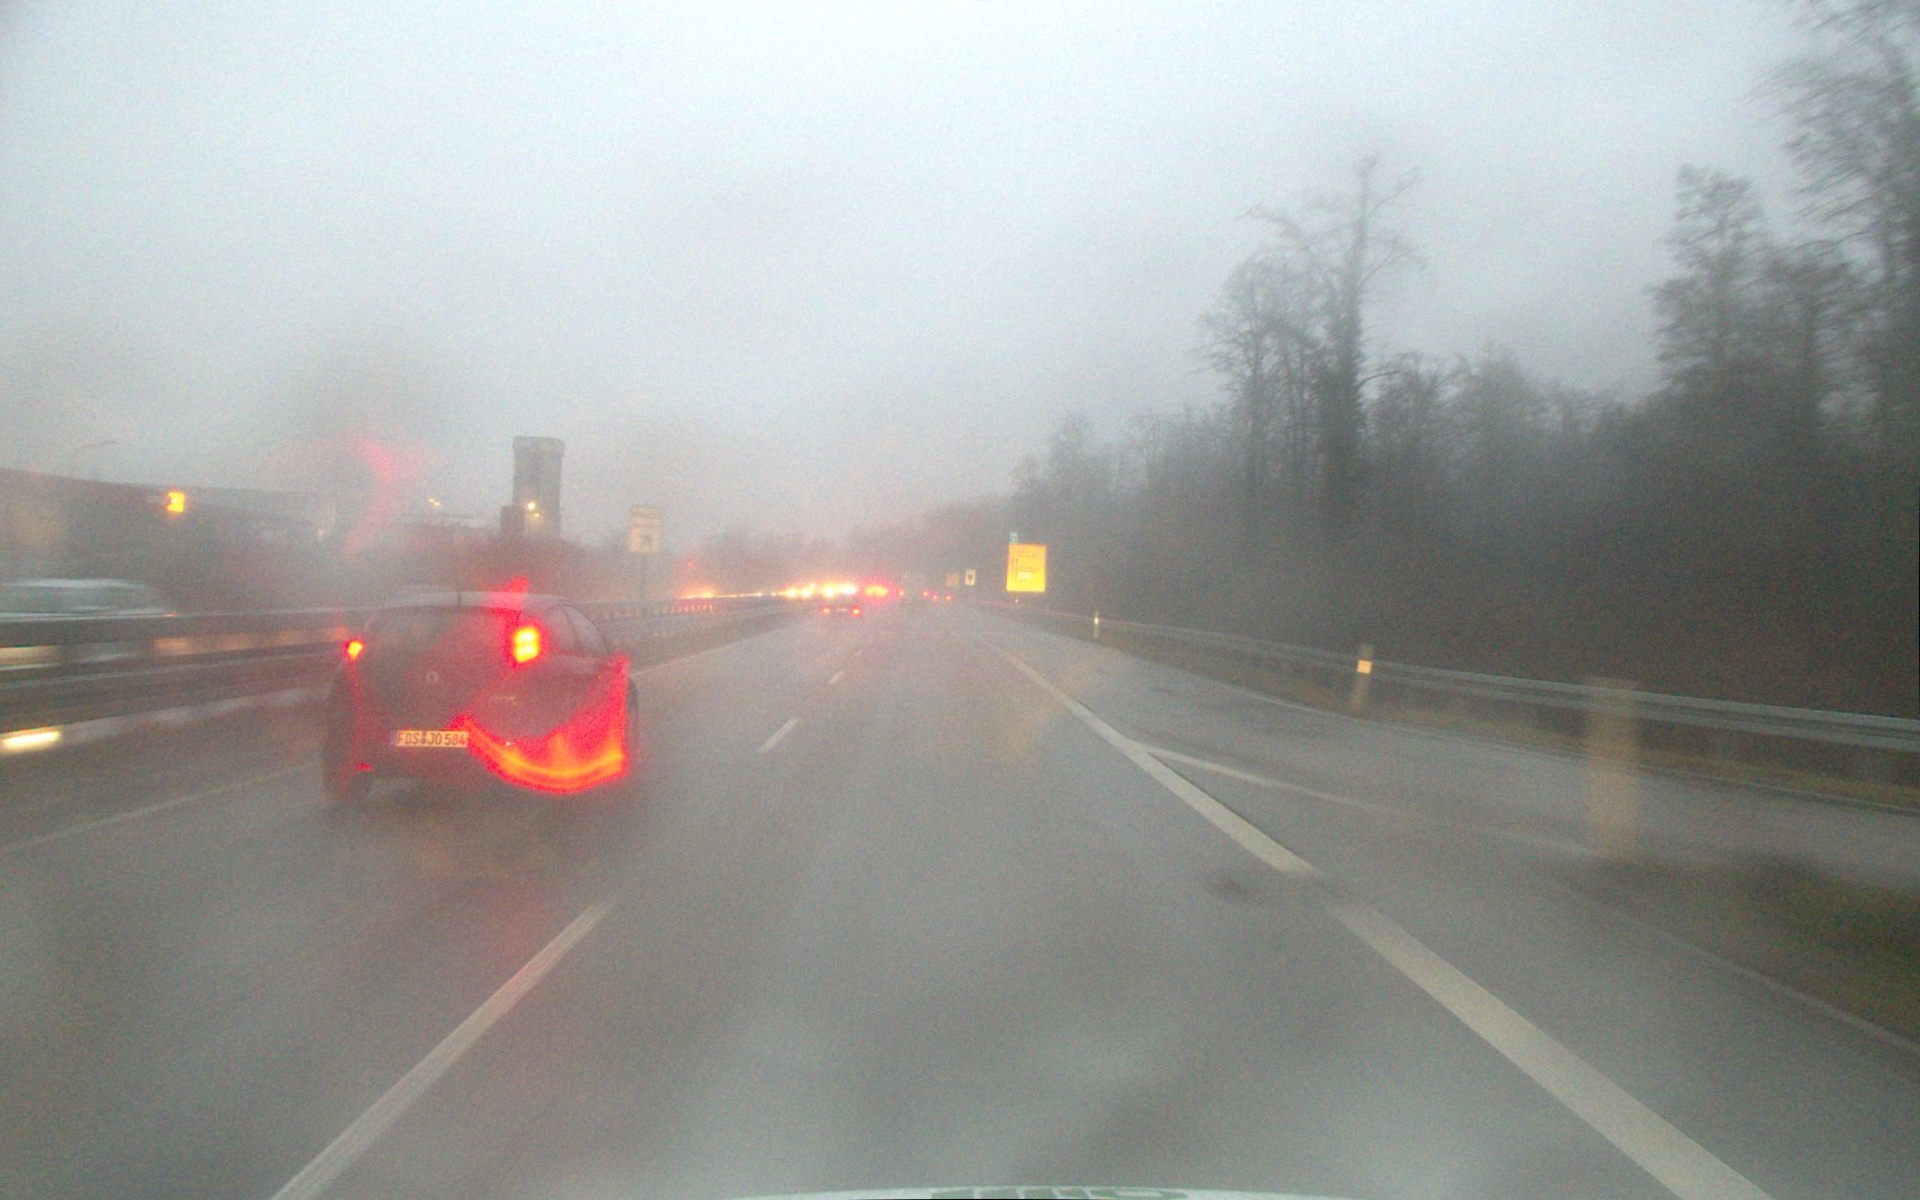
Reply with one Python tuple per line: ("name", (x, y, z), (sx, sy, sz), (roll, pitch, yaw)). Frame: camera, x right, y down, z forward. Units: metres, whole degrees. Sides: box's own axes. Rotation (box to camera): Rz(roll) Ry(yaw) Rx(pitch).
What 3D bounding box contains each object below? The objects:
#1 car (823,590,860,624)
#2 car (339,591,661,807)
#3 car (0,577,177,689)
("car", (-4.921, 0.283, 68.883), (1.387, 1.340, 3.082), (2, 0, -2))
("car", (-3.499, 0.681, 13.295), (1.593, 1.416, 3.998), (2, 0, -3))
("car", (-13.560, 0.446, 24.868), (1.701, 1.534, 3.999), (2, 0, -1))
